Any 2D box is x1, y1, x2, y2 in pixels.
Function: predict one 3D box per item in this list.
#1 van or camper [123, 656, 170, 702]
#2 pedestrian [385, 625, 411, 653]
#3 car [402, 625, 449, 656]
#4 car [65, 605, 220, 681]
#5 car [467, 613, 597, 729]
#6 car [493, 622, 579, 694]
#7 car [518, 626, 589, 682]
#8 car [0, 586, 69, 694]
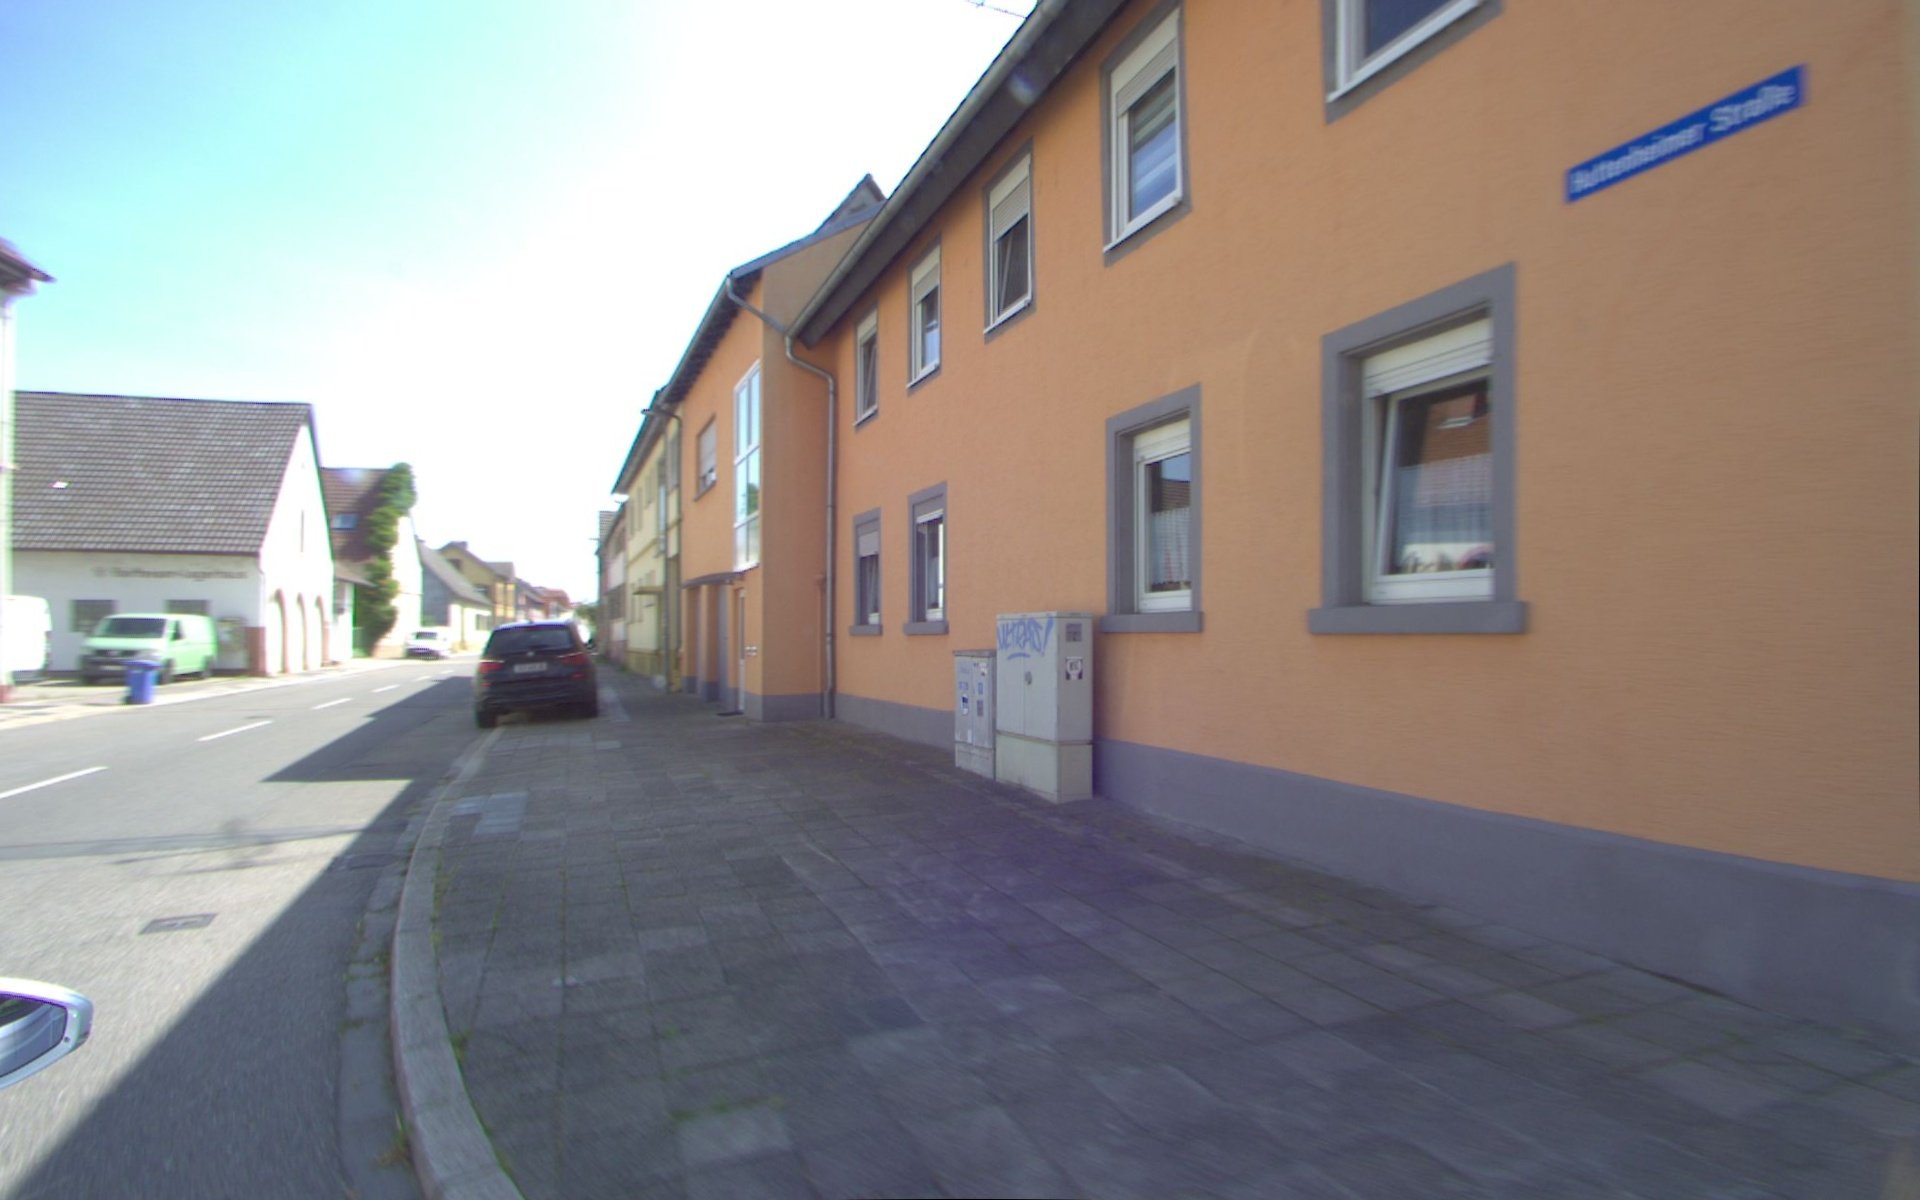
[{"bbox_3d":[-17.529,1.691,21.580,0.581,0.963,0.599,1,-1,-15],"label":"van or camper"},{"bbox_3d":[-32.099,2.209,57.179,1.121,1.571,1.014,1,-2,-22],"label":"pedestrian"},{"bbox_3d":[-30.412,2.292,57.077,1.830,1.668,4.418,1,-2,-22],"label":"car"},{"bbox_3d":[-23.389,1.223,28.894,1.966,1.989,4.659,2,-2,-20],"label":"car"},{"bbox_3d":[-7.524,1.166,18.018,1.819,1.724,5.169,-1,-1,-20],"label":"car"},{"bbox_3d":[-11.215,1.508,26.725,1.872,1.750,4.239,1,-2,-20],"label":"car"},{"bbox_3d":[-12.977,1.690,32.013,1.967,1.638,3.989,1,-2,-22],"label":"car"},{"bbox_3d":[-22.387,0.798,21.003,5.096,2.225,2.121,1,-1,-11],"label":"car"}]
